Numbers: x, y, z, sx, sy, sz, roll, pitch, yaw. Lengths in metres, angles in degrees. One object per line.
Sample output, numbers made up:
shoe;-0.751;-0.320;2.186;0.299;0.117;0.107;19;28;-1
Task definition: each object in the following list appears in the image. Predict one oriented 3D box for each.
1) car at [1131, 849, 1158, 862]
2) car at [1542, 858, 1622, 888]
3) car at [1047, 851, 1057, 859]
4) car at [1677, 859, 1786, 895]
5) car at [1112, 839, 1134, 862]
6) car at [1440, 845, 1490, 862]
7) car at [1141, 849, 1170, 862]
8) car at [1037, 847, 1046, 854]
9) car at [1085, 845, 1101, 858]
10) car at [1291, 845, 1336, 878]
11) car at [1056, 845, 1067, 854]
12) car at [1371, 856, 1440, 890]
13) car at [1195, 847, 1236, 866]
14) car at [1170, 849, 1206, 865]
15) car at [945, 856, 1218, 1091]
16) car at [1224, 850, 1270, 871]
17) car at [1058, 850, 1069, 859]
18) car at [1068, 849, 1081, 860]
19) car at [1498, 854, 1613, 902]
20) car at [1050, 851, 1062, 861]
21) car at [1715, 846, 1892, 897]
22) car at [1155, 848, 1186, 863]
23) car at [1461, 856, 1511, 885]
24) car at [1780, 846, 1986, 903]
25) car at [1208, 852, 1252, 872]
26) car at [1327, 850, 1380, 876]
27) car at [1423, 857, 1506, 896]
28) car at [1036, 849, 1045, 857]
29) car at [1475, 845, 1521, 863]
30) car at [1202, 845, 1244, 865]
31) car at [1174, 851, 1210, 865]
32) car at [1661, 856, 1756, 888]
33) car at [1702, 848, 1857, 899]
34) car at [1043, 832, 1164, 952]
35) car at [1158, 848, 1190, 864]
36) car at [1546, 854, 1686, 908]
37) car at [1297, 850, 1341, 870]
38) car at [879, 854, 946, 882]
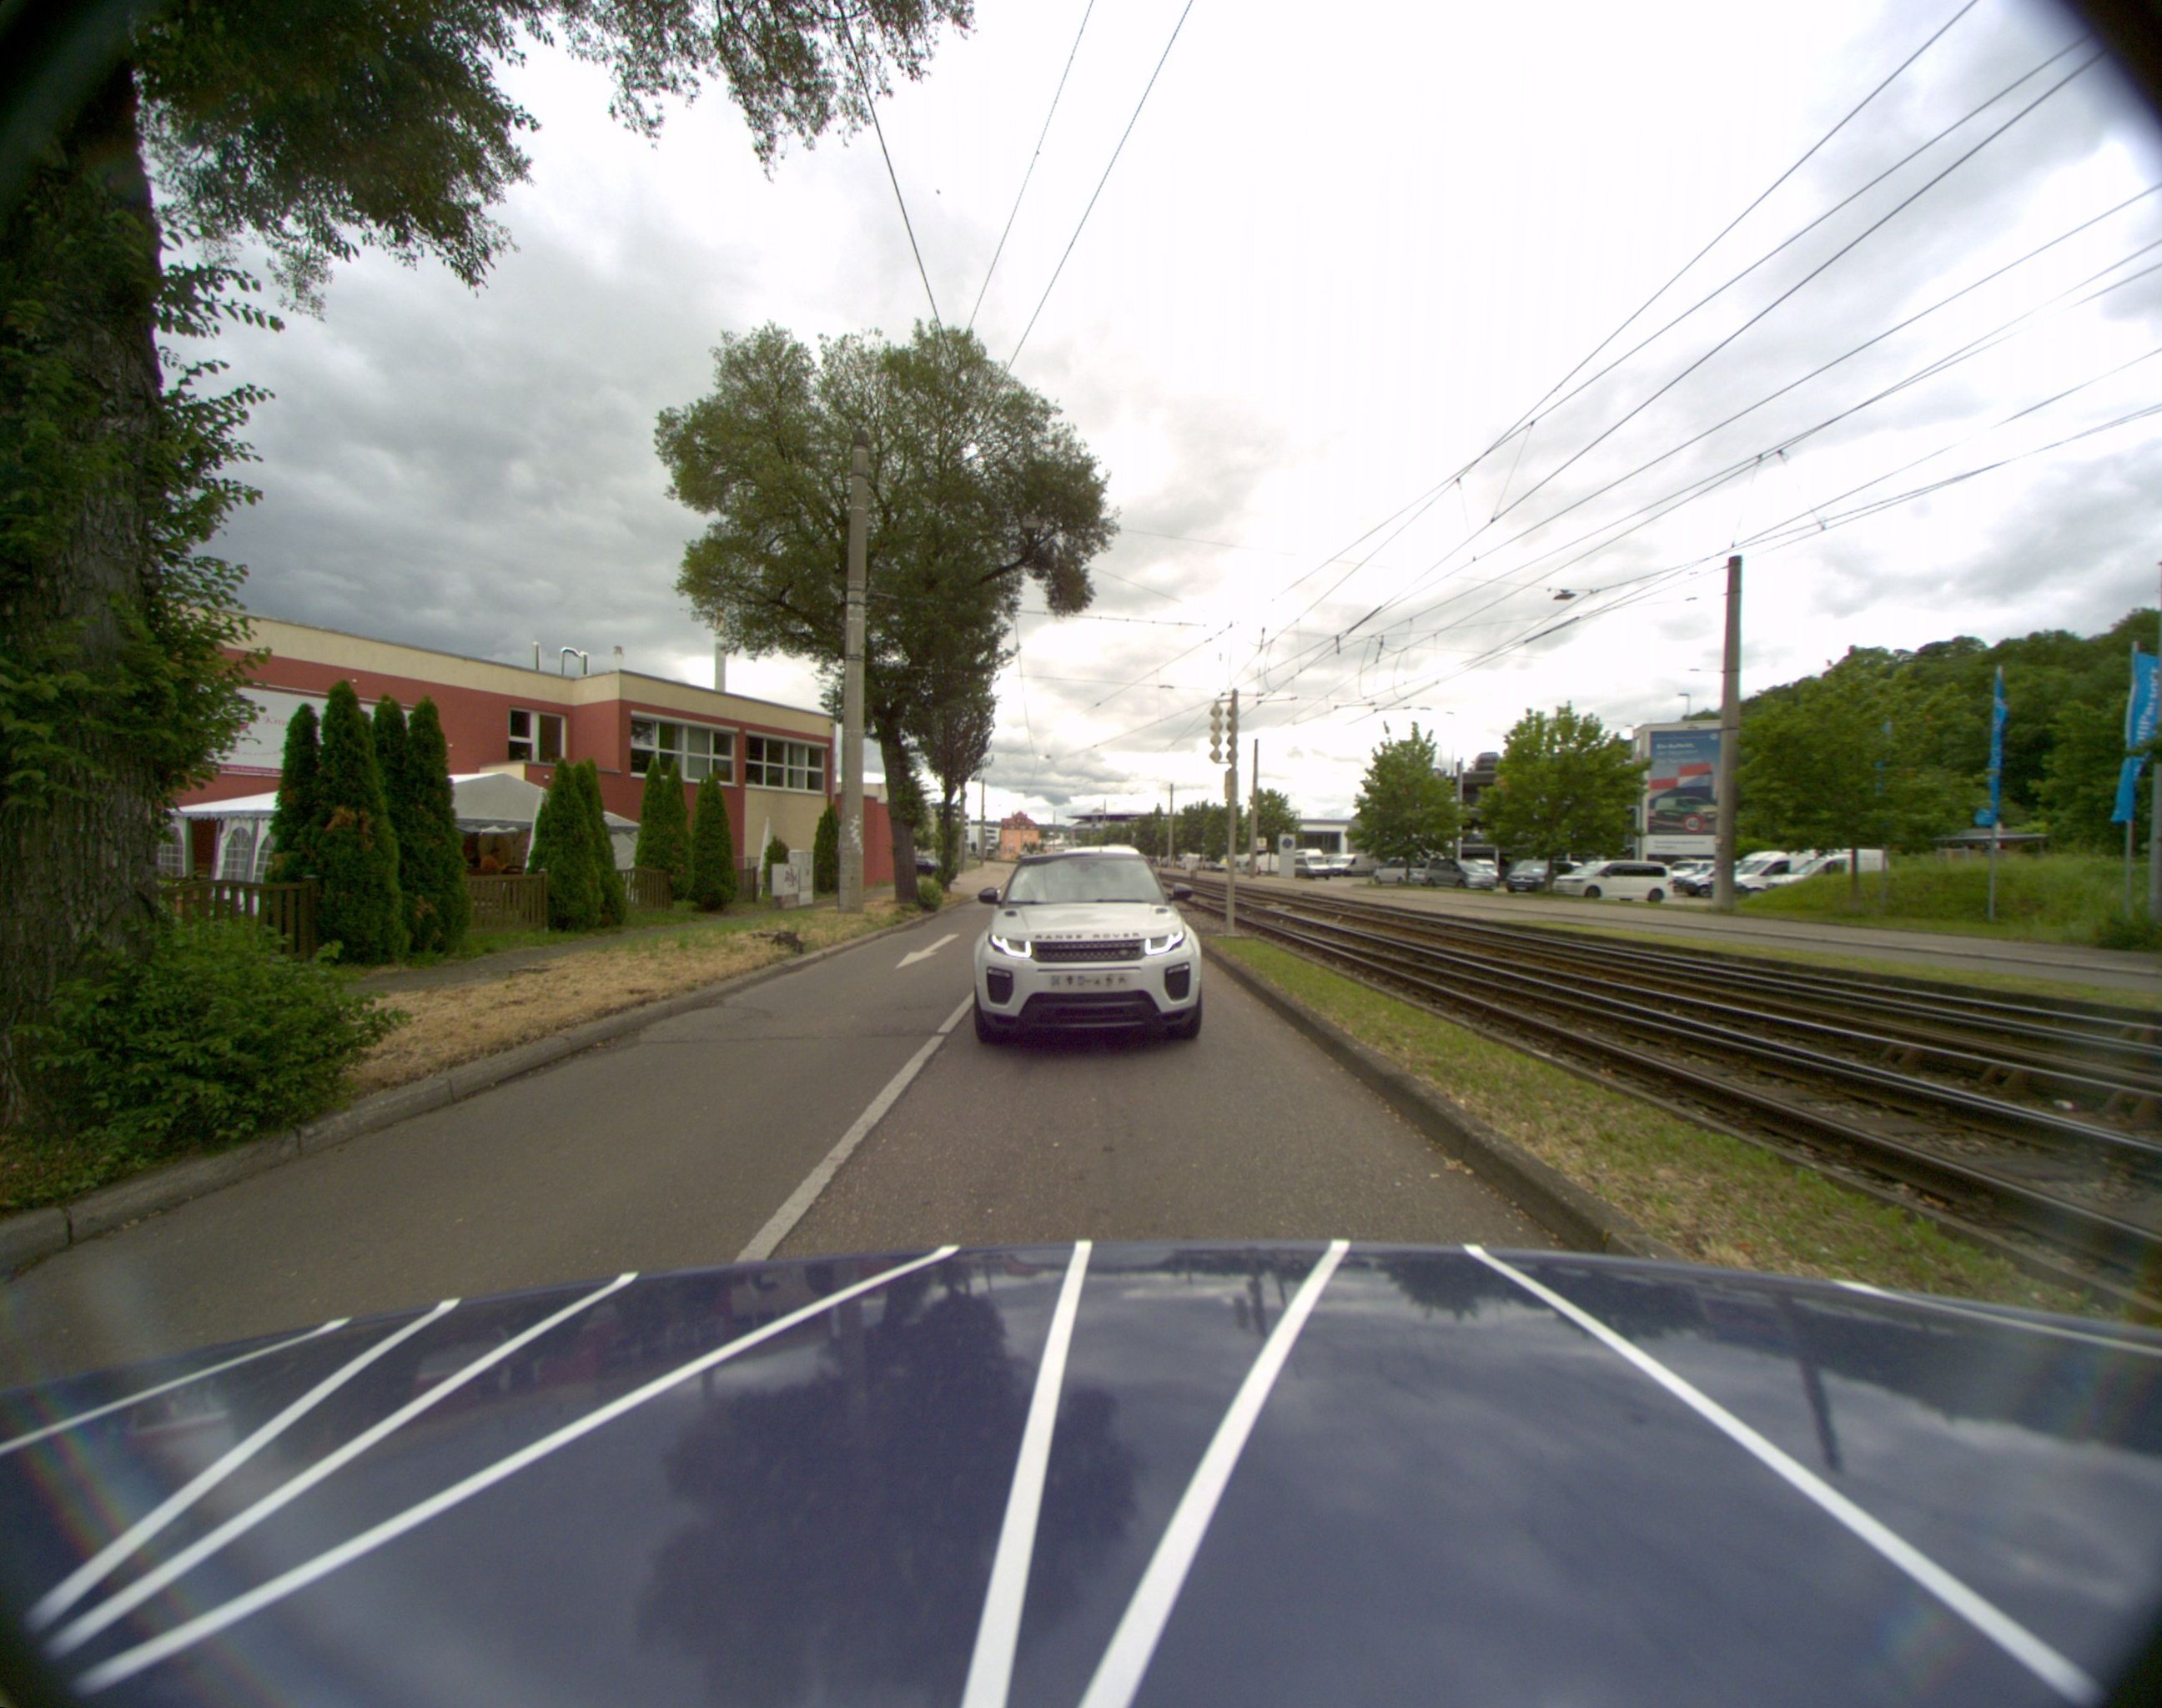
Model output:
car;11.853;0.194;141.312;4.639;2.196;2.107;-2;1;-8
car;34.409;1.302;52.308;4.228;1.826;1.983;-2;1;19
car;-7.370;0.314;191.742;2.000;2.002;3.997;-2;1;-7
car;36.665;1.285;42.977;4.228;1.826;1.983;-2;1;19
car;5.659;-0.472;102.855;2.410;2.931;4.747;-2;1;-2
car;46.345;-0.110;91.791;5.216;1.826;1.983;-2;1;21
car;13.018;0.244;132.829;4.639;2.196;2.107;-2;1;-8
car;-10.629;-0.956;205.063;2.000;2.002;3.997;-2;1;-7
car;1.884;-0.360;122.257;2.000;2.002;3.997;-2;1;-7
car;22.411;0.677;73.586;2.320;2.994;6.157;-2;1;0
car;-4.630;-1.043;178.505;2.000;2.002;3.997;-2;1;-7
car;22.137;1.257;52.096;2.142;2.104;4.772;-2;1;-8
car;17.077;0.323;96.387;4.639;2.196;2.107;-2;1;-8
car;15.543;0.395;110.560;4.639;2.196;2.107;-2;1;-8
car;0.007;0.887;7.701;1.998;1.680;4.268;0;1;0
car;18.813;0.705;86.084;4.639;2.196;2.107;-2;1;-8
car;-3.886;0.139;171.874;2.000;2.002;3.997;-2;1;-7
car;-1.258;0.041;144.140;2.000;2.002;3.997;-2;1;-7
car;24.690;1.222;39.655;4.774;2.254;1.979;-2;1;-3
car;-5.274;0.351;159.638;2.000;2.002;3.997;-2;1;-7
car;34.884;0.860;36.931;5.839;2.254;2.056;-2;1;22
car;14.489;0.298;122.912;4.639;2.196;2.107;-2;1;-8
car;28.889;1.149;54.400;1.900;1.882;4.600;-2;1;12
car;34.683;0.910;33.119;5.850;2.254;2.056;-2;1;22
car;17.843;0.945;91.192;4.639;2.196;2.107;-2;1;-8
car;30.333;0.975;84.556;6.057;2.608;2.316;-3;1;-34
car;23.020;1.292;45.870;2.142;2.104;4.773;-2;1;-7
car;-9.945;-0.247;186.183;2.000;2.002;3.997;-2;1;-7
car;47.223;-0.032;86.122;4.227;1.826;1.983;-2;1;21
car;17.498;0.142;93.603;4.639;2.196;2.107;-2;1;-8
car;15.782;0.596;108.153;4.639;1.829;2.107;-2;1;-8
car;39.886;1.135;48.390;4.228;1.826;1.983;-2;1;19
car;36.563;1.011;39.989;5.652;2.446;1.983;-2;1;19
car;0.423;0.604;15.164;1.998;1.990;5.034;0;1;1
car;14.766;0.314;120.477;4.639;2.196;2.107;-2;1;-8
car;25.264;1.241;35.990;5.269;2.254;1.999;-2;1;-3
car;29.126;0.721;93.019;4.636;2.196;2.108;-2;1;-1
car;-10.949;0.898;49.559;3.999;1.636;1.895;-2;1;-6
